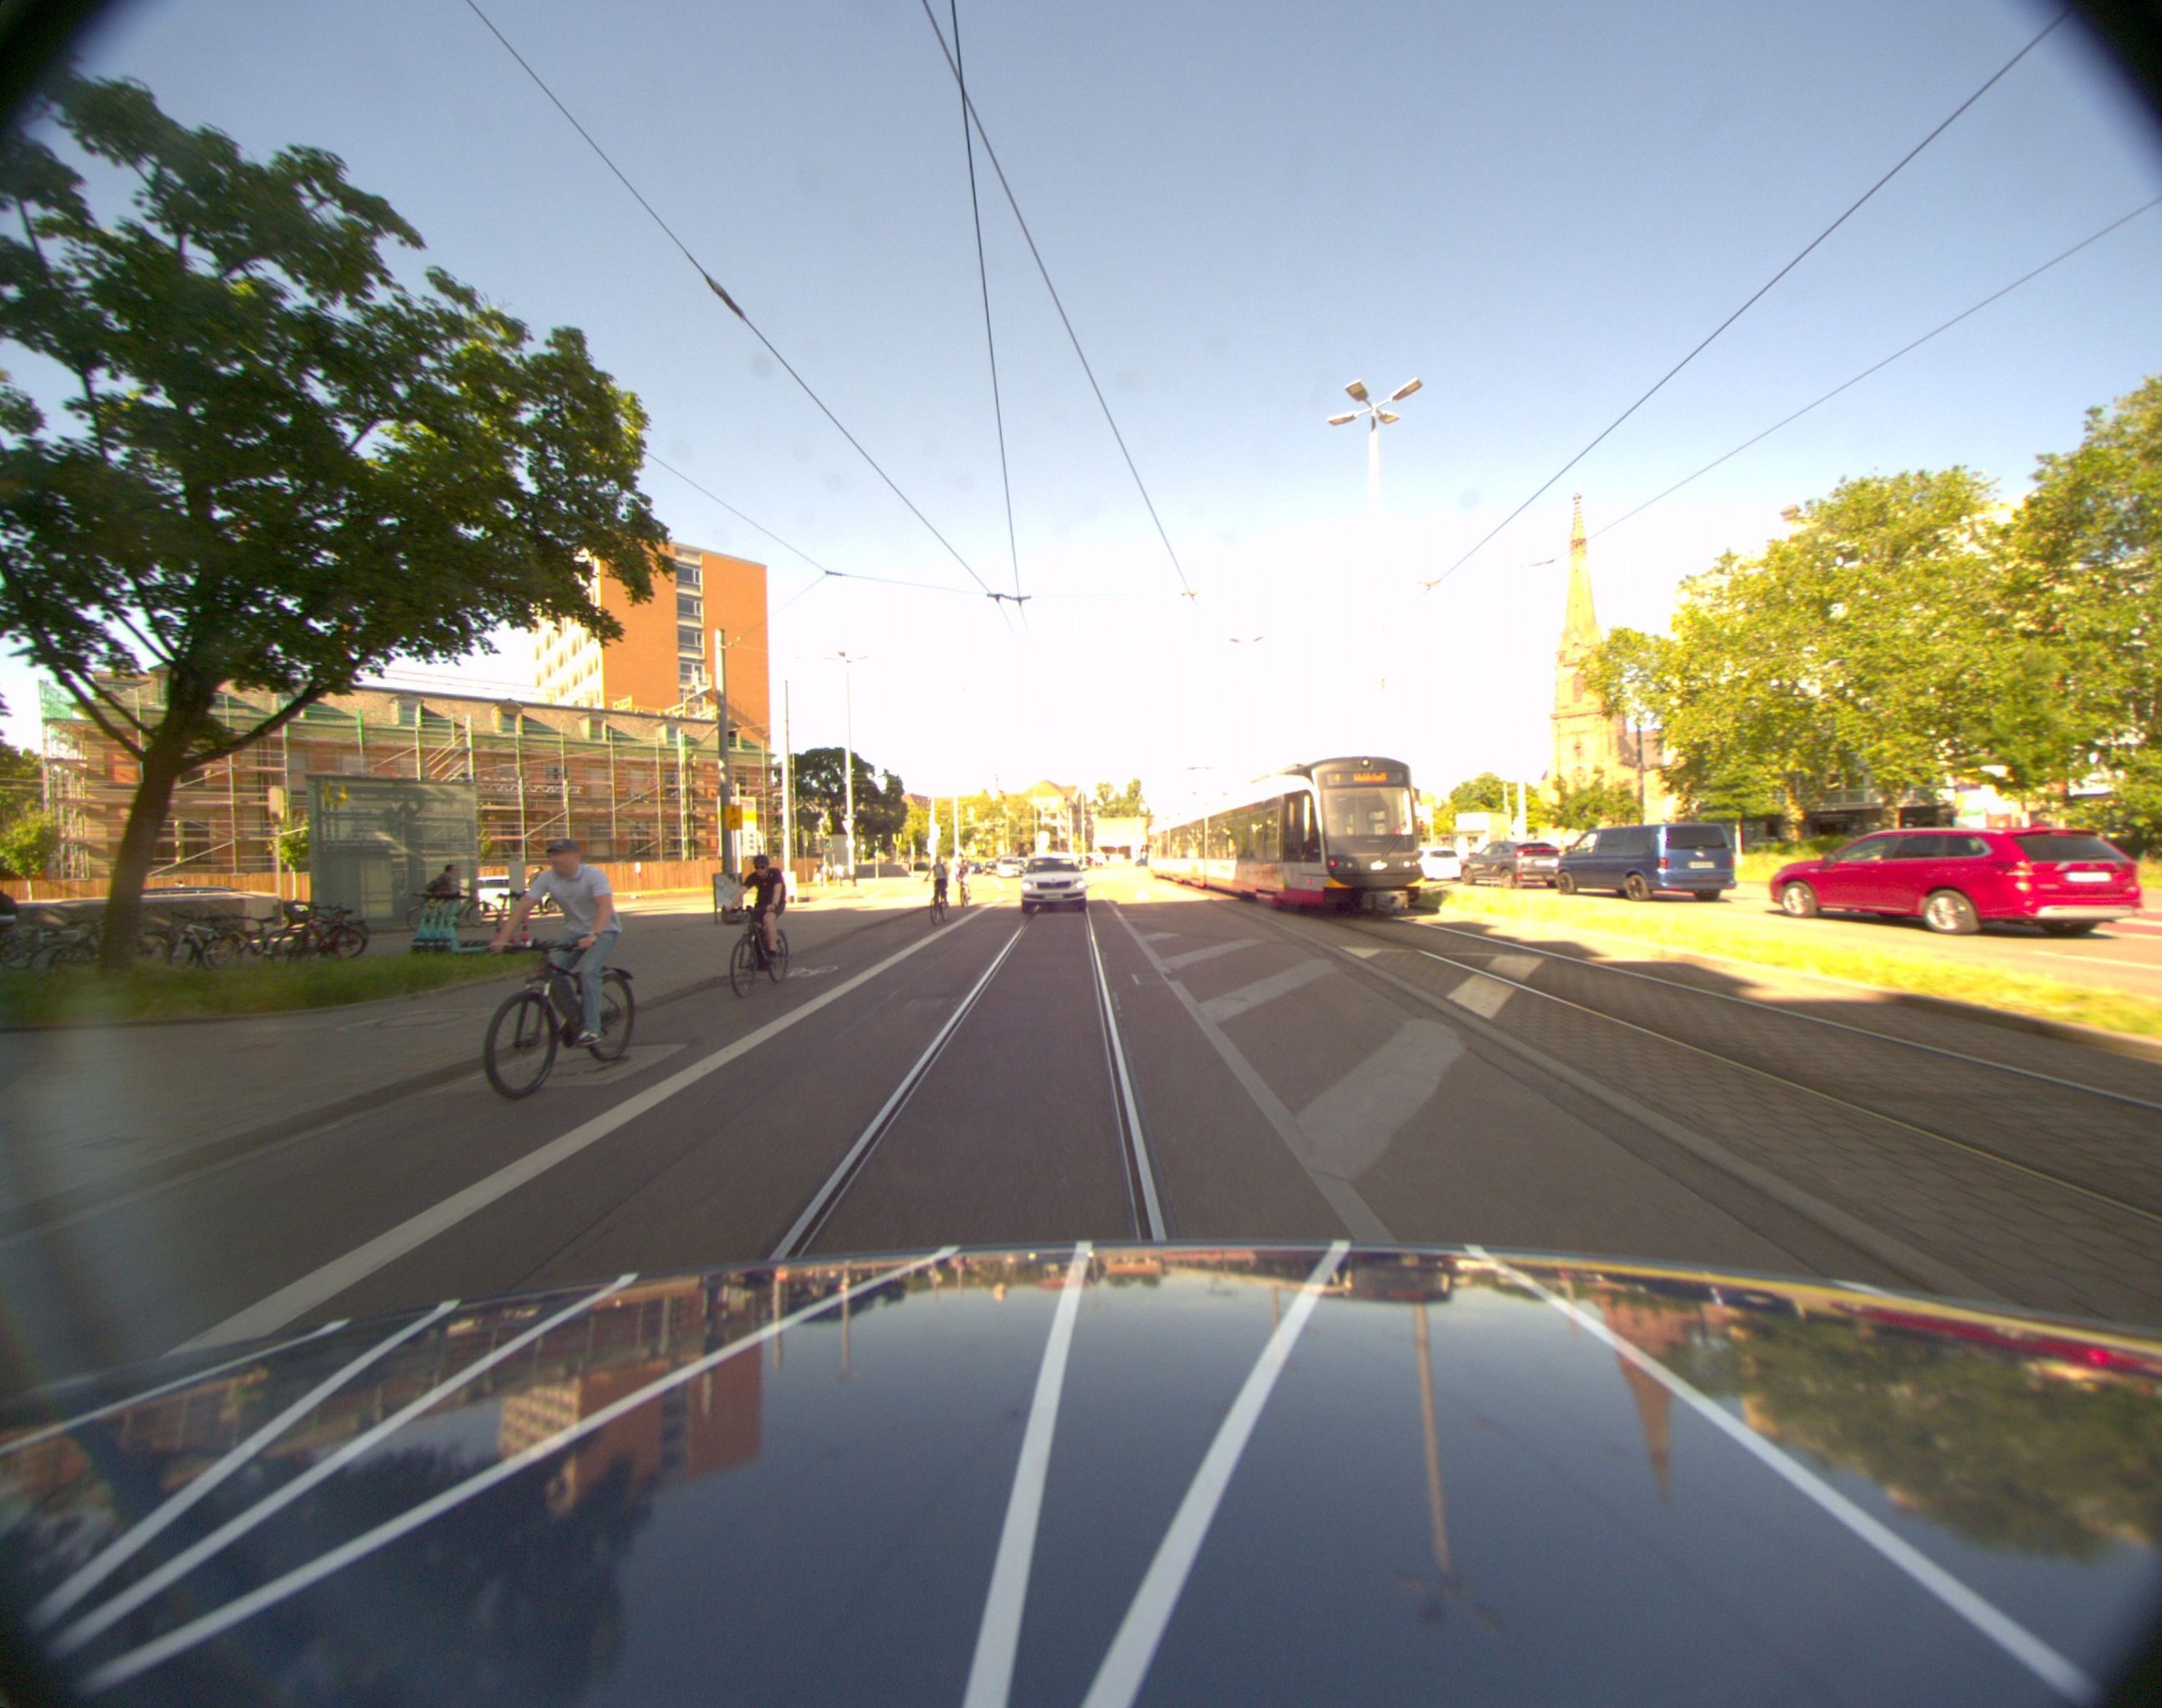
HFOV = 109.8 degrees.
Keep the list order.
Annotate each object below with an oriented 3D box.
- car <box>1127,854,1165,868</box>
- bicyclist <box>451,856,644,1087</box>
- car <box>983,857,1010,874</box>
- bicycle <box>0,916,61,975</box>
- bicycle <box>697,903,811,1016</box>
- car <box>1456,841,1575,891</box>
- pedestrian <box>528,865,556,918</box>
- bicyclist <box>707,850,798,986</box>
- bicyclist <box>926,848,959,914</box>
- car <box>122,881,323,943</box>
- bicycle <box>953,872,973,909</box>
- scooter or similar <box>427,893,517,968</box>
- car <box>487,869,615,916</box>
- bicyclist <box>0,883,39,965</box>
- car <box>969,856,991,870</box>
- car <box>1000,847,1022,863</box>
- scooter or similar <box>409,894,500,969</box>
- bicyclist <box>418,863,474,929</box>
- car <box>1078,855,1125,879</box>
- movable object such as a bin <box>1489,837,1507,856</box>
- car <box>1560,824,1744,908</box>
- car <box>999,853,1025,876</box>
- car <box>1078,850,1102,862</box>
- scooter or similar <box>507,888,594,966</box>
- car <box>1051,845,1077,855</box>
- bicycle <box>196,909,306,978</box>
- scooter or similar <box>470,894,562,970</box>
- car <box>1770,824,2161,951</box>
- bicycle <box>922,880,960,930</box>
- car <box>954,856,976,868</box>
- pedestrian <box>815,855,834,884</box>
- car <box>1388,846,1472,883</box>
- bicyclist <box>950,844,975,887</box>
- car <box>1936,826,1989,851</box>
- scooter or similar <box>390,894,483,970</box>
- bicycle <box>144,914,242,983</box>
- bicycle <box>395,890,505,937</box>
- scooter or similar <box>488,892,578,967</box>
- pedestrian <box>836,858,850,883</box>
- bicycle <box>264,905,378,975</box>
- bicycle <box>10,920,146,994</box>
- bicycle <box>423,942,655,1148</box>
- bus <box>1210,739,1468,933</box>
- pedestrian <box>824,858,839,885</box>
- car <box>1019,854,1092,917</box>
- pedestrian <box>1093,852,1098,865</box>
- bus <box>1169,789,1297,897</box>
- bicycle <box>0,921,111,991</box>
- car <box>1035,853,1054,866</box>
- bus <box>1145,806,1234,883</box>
[{"bbox_3d":[7.334,0.803,86.375,1.916,1.449,4.589,-3,1,-30],"label":"car"},{"bbox_3d":[-3.957,0.817,5.722,0.784,1.584,0.885,-2,1,-2],"label":"bicyclist"},{"bbox_3d":[-8.586,1.094,76.970,1.888,1.557,4.006,-4,1,-17],"label":"car"},{"bbox_3d":[-21.975,1.881,15.157,1.935,1.111,0.532,-3,-1,-19],"label":"bicycle"},{"bbox_3d":[-4.073,1.265,9.634,0.533,1.111,1.933,-2,1,1],"label":"bicycle"},{"bbox_3d":[15.041,0.364,26.602,1.807,1.569,4.164,-1,1,1],"label":"car"},{"bbox_3d":[-19.388,1.333,27.339,0.651,1.838,0.545,-5,2,-42],"label":"pedestrian"},{"bbox_3d":[-4.164,0.777,9.700,0.625,1.604,0.980,-3,1,-1],"label":"bicyclist"},{"bbox_3d":[-3.540,0.664,19.447,0.551,1.604,0.953,-3,1,0],"label":"bicyclist"},{"bbox_3d":[-29.500,1.928,26.356,4.259,1.677,1.913,-3,2,-38],"label":"car"},{"bbox_3d":[-4.049,1.232,26.221,0.533,1.152,1.865,-3,0,-6],"label":"bicycle"},{"bbox_3d":[-11.124,1.367,13.937,0.271,1.178,1.564,-3,1,1],"label":"scooter or similar"},{"bbox_3d":[-22.276,1.560,31.998,4.259,1.612,1.913,-3,2,-38],"label":"car"},{"bbox_3d":[-21.845,1.418,15.183,0.953,1.604,0.599,-4,1,-16],"label":"bicyclist"},{"bbox_3d":[-12.158,1.068,91.503,1.888,1.557,4.006,-4,1,-17],"label":"car"},{"bbox_3d":[-12.534,0.273,135.908,2.246,2.665,5.296,-4,1,-24],"label":"car"},{"bbox_3d":[-11.440,1.386,13.928,0.271,1.178,1.564,-3,1,1],"label":"scooter or similar"},{"bbox_3d":[-16.902,1.098,20.238,1.048,1.651,0.453,-4,2,-40],"label":"bicyclist"},{"bbox_3d":[1.338,0.853,51.747,1.923,1.450,3.860,-4,1,-18],"label":"car"},{"bbox_3d":[36.235,-0.649,66.031,0.993,1.625,0.935,-4,2,-34],"label":"movable object such as a bin"},{"bbox_3d":[14.665,0.251,19.865,1.807,1.922,4.165,-1,1,2],"label":"car"},{"bbox_3d":[-5.566,0.813,60.938,1.887,1.621,4.009,-4,1,-8],"label":"car"},{"bbox_3d":[1.193,0.257,103.435,2.045,1.568,4.623,-2,1,-15],"label":"car"},{"bbox_3d":[-9.514,1.273,13.700,0.271,1.212,1.703,-3,1,1],"label":"scooter or similar"},{"bbox_3d":[-3.804,-0.943,170.585,5.246,1.793,2.404,-4,1,-41],"label":"car"},{"bbox_3d":[-14.899,1.580,13.686,0.404,1.055,1.352,-3,1,1],"label":"bicycle"},{"bbox_3d":[-10.102,1.361,13.648,0.271,1.156,1.703,-3,1,1],"label":"scooter or similar"},{"bbox_3d":[14.174,0.429,12.588,1.803,1.709,4.417,-1,1,5],"label":"car"},{"bbox_3d":[-3.499,1.247,19.117,0.533,1.111,1.934,-3,0,-1],"label":"bicycle"},{"bbox_3d":[-16.236,1.099,105.799,1.924,1.450,4.660,-4,1,-22],"label":"car"},{"bbox_3d":[-17.884,1.080,52.964,0.933,1.918,1.048,-3,1,-4],"label":"pedestrian"},{"bbox_3d":[15.270,0.411,33.486,1.807,1.424,3.999,-3,1,1],"label":"car"},{"bbox_3d":[-4.117,0.390,26.453,0.676,1.413,1.036,-4,1,-5],"label":"bicyclist"},{"bbox_3d":[56.171,-1.000,48.411,4.007,1.490,1.995,-2,0,-38],"label":"car"},{"bbox_3d":[-11.773,1.389,13.936,0.271,1.189,1.564,-3,1,1],"label":"scooter or similar"},{"bbox_3d":[-16.002,1.681,13.730,0.404,1.055,1.350,-4,1,-15],"label":"bicycle"},{"bbox_3d":[-16.797,1.551,20.300,2.199,1.052,0.487,-3,1,-40],"label":"bicycle"},{"bbox_3d":[-9.807,1.322,13.671,0.271,1.150,1.703,-3,1,1],"label":"scooter or similar"},{"bbox_3d":[-16.338,1.151,52.171,0.661,1.667,0.823,-3,1,-4],"label":"pedestrian"},{"bbox_3d":[-13.706,1.531,13.762,0.404,1.055,1.483,-3,1,5],"label":"bicycle"},{"bbox_3d":[-17.364,1.757,13.204,0.404,1.055,1.461,-3,1,-4],"label":"bicycle"},{"bbox_3d":[-3.951,1.313,5.746,0.387,1.062,1.933,-2,0,-2],"label":"bicycle"},{"bbox_3d":[5.843,-0.359,20.034,2.848,3.569,11.269,-2,0,0],"label":"bus"},{"bbox_3d":[-16.789,1.174,51.212,0.661,1.747,0.823,-3,1,-4],"label":"pedestrian"},{"bbox_3d":[-0.651,0.847,22.754,1.868,1.635,4.397,-2,0,1],"label":"car"},{"bbox_3d":[1.732,0.562,91.211,0.372,1.547,0.644,-4,1,-6],"label":"pedestrian"},{"bbox_3d":[5.775,-0.403,31.123,2.848,3.569,10.724,-2,0,-1],"label":"bus"},{"bbox_3d":[-18.589,1.812,13.677,0.404,1.055,1.461,-4,1,-6],"label":"bicycle"},{"bbox_3d":[-4.745,0.722,98.081,1.687,1.523,3.910,-4,1,-13],"label":"car"},{"bbox_3d":[5.749,-0.475,42.914,2.848,3.569,13.493,-2,0,-1],"label":"bus"}]
